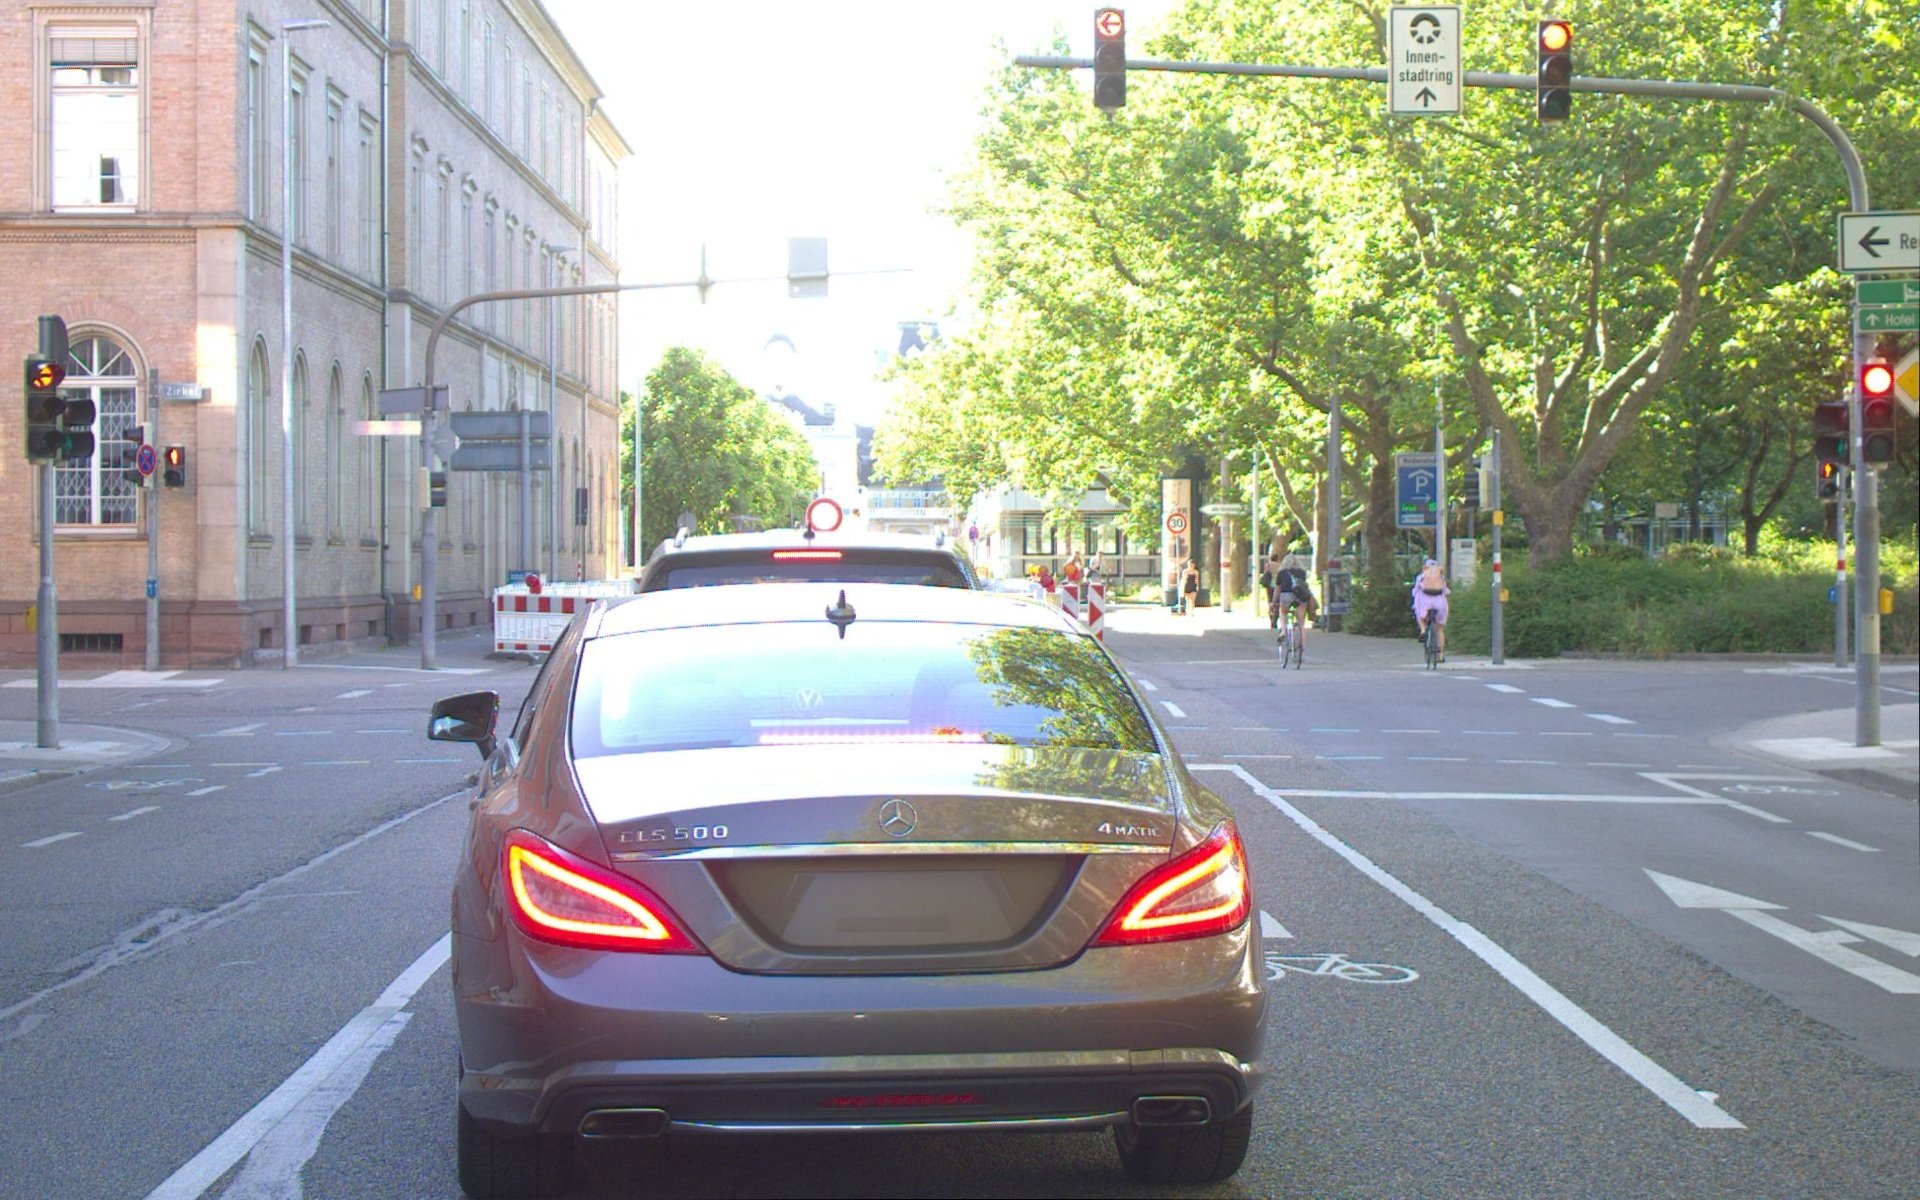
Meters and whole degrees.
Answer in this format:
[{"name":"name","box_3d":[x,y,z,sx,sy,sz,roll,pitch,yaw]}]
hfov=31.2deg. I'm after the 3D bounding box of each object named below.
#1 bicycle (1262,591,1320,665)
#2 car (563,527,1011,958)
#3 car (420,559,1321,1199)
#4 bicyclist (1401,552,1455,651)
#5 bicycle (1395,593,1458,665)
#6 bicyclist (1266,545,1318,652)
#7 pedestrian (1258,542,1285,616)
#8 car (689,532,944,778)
[{"name":"bicycle","box_3d":[4.780,0.393,49.732,0.610,1.023,1.731,2,1,-1]},{"name":"car","box_3d":[-0.714,0.513,14.848,1.681,1.619,3.841,0,1,-2]},{"name":"car","box_3d":[-0.447,0.630,9.088,1.821,1.471,4.354,0,1,-7]},{"name":"bicyclist","box_3d":[6.736,0.012,49.526,0.600,1.397,0.931,2,1,-1]},{"name":"bicycle","box_3d":[6.725,0.407,49.605,0.600,0.981,1.881,2,1,-1]},{"name":"bicyclist","box_3d":[4.789,-0.027,49.660,0.610,1.511,0.890,2,1,-1]},{"name":"pedestrian","box_3d":[7.073,-0.476,78.018,0.559,1.672,0.564,0,1,-1]},{"name":"car","box_3d":[-1.012,0.342,24.667,1.681,1.619,3.841,0,1,-2]}]
